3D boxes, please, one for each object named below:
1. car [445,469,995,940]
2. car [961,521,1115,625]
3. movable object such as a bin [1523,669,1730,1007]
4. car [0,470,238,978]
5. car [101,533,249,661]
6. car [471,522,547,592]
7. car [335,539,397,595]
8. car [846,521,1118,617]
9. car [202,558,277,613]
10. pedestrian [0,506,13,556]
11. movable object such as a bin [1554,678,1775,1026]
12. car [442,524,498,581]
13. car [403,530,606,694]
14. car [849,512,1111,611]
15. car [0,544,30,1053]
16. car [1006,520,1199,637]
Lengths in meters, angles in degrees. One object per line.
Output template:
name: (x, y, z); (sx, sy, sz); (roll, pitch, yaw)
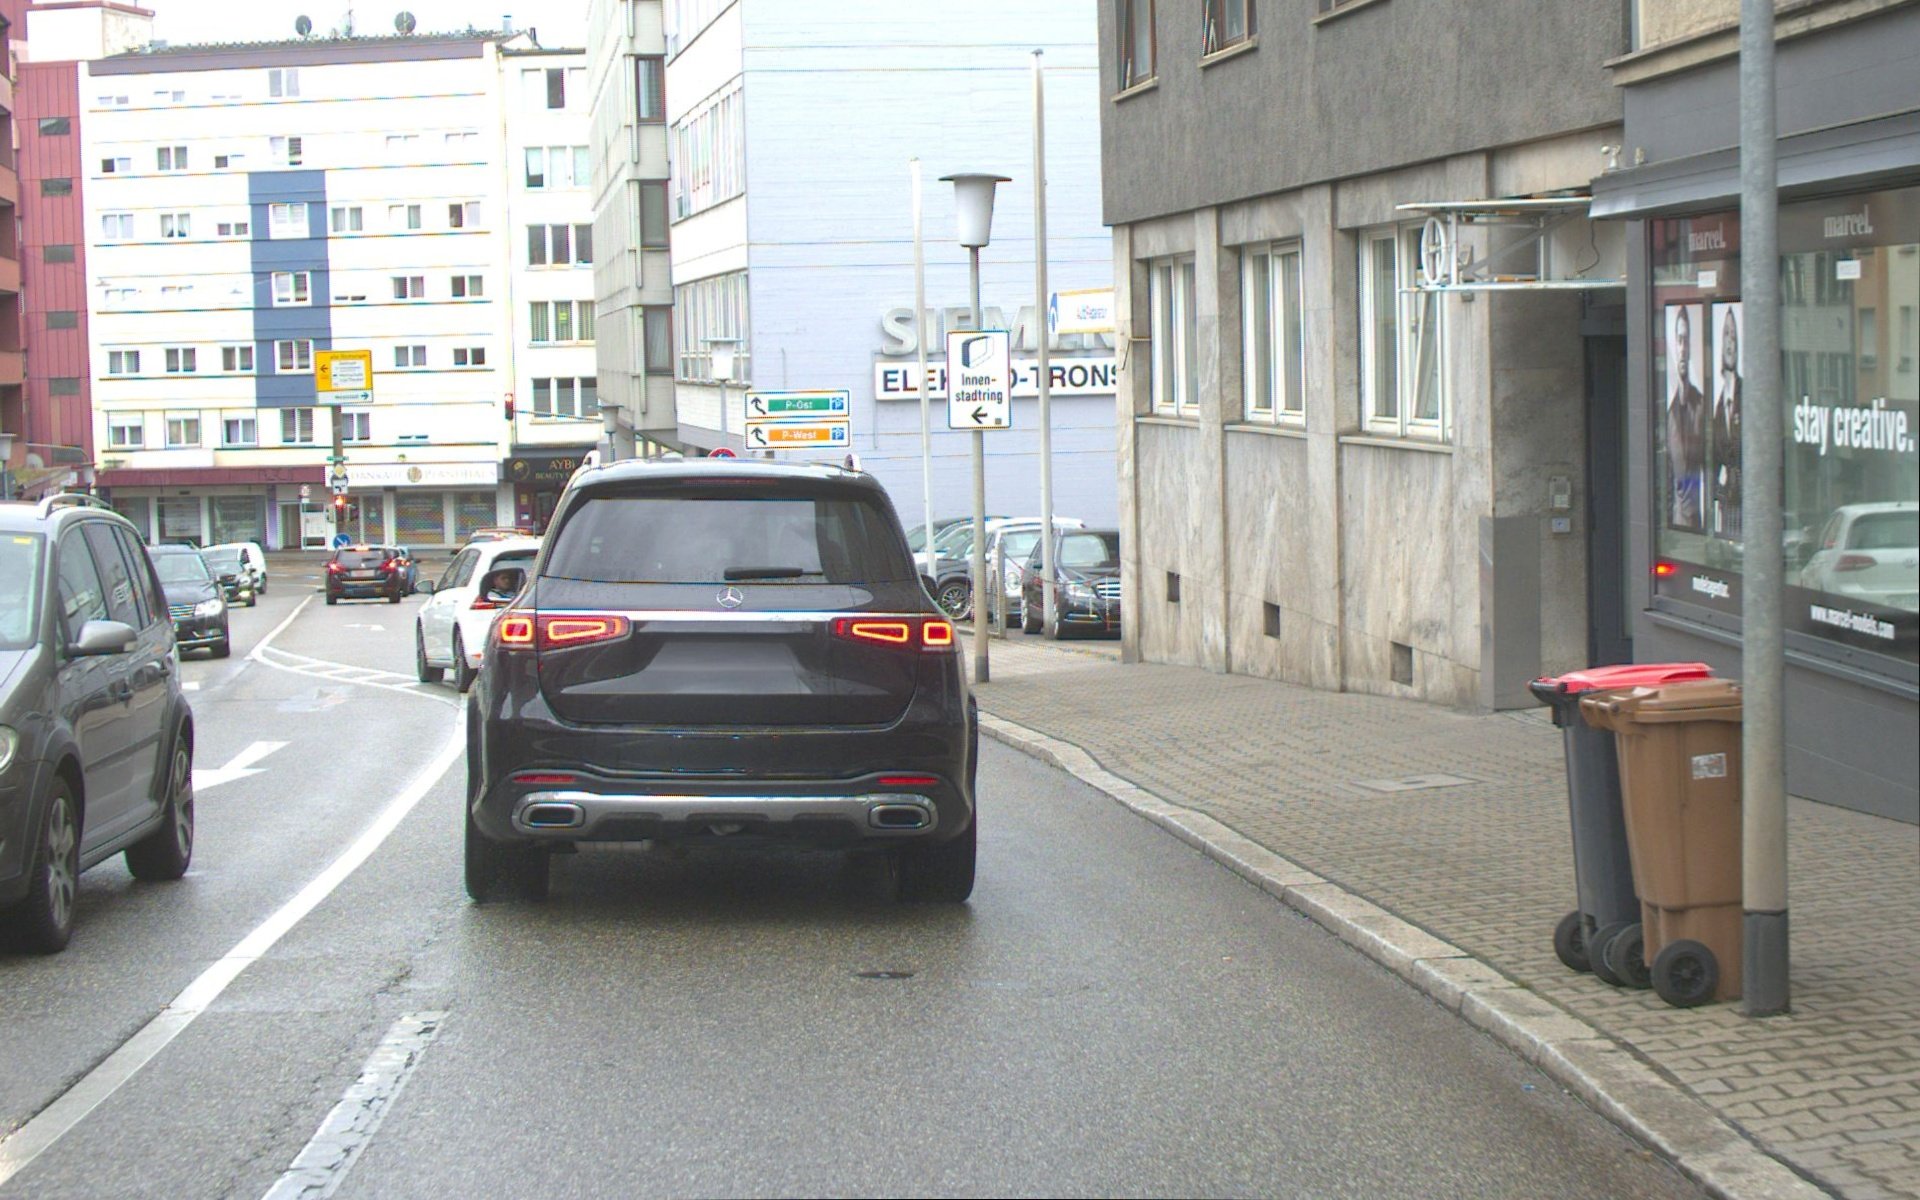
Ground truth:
car: (-1.180, 0.351, 15.123); (2.020, 1.733, 4.748); (1, 1, -7)
car: (1.108, -0.425, 50.709); (1.565, 1.472, 4.071); (0, 1, -9)
movable object such as a bin: (2.074, 0.733, 10.749); (0.525, 0.977, 0.537); (0, 5, -1)
car: (-4.146, 0.378, 13.742); (1.806, 1.699, 4.562); (1, 1, -4)
car: (-10.166, -0.052, 44.749); (1.723, 1.510, 4.370); (-3, 1, -12)
car: (-10.500, -1.007, 79.868); (1.522, 1.543, 3.108); (-1, 2, -11)
car: (-14.478, -0.815, 83.874); (1.285, 1.120, 2.788); (-1, 5, -6)
car: (0.360, -0.478, 54.779); (3.986, 1.489, 1.733); (0, 0, -28)
car: (-18.998, -0.395, 90.608); (1.714, 1.313, 4.145); (-2, 2, -14)
pedestrian: (-28.549, -2.057, 102.824); (0.318, 1.469, 0.339); (-1, 5, -4)
movable object such as a bin: (2.077, 0.735, 10.184); (0.525, 0.947, 0.537); (0, 5, -1)
car: (-14.064, -1.382, 98.860); (1.522, 1.543, 3.108); (-1, 2, -7)
car: (-4.560, 0.066, 34.342); (1.830, 1.456, 4.380); (-2, 2, -8)
car: (0.340, -0.626, 57.460); (3.986, 1.592, 1.799); (0, 0, -28)
car: (-3.579, 0.585, 8.066); (1.698, 1.475, 4.291); (1, 1, -1)
car: (1.823, -0.318, 45.361); (1.796, 1.472, 4.486); (0, 1, -8)
